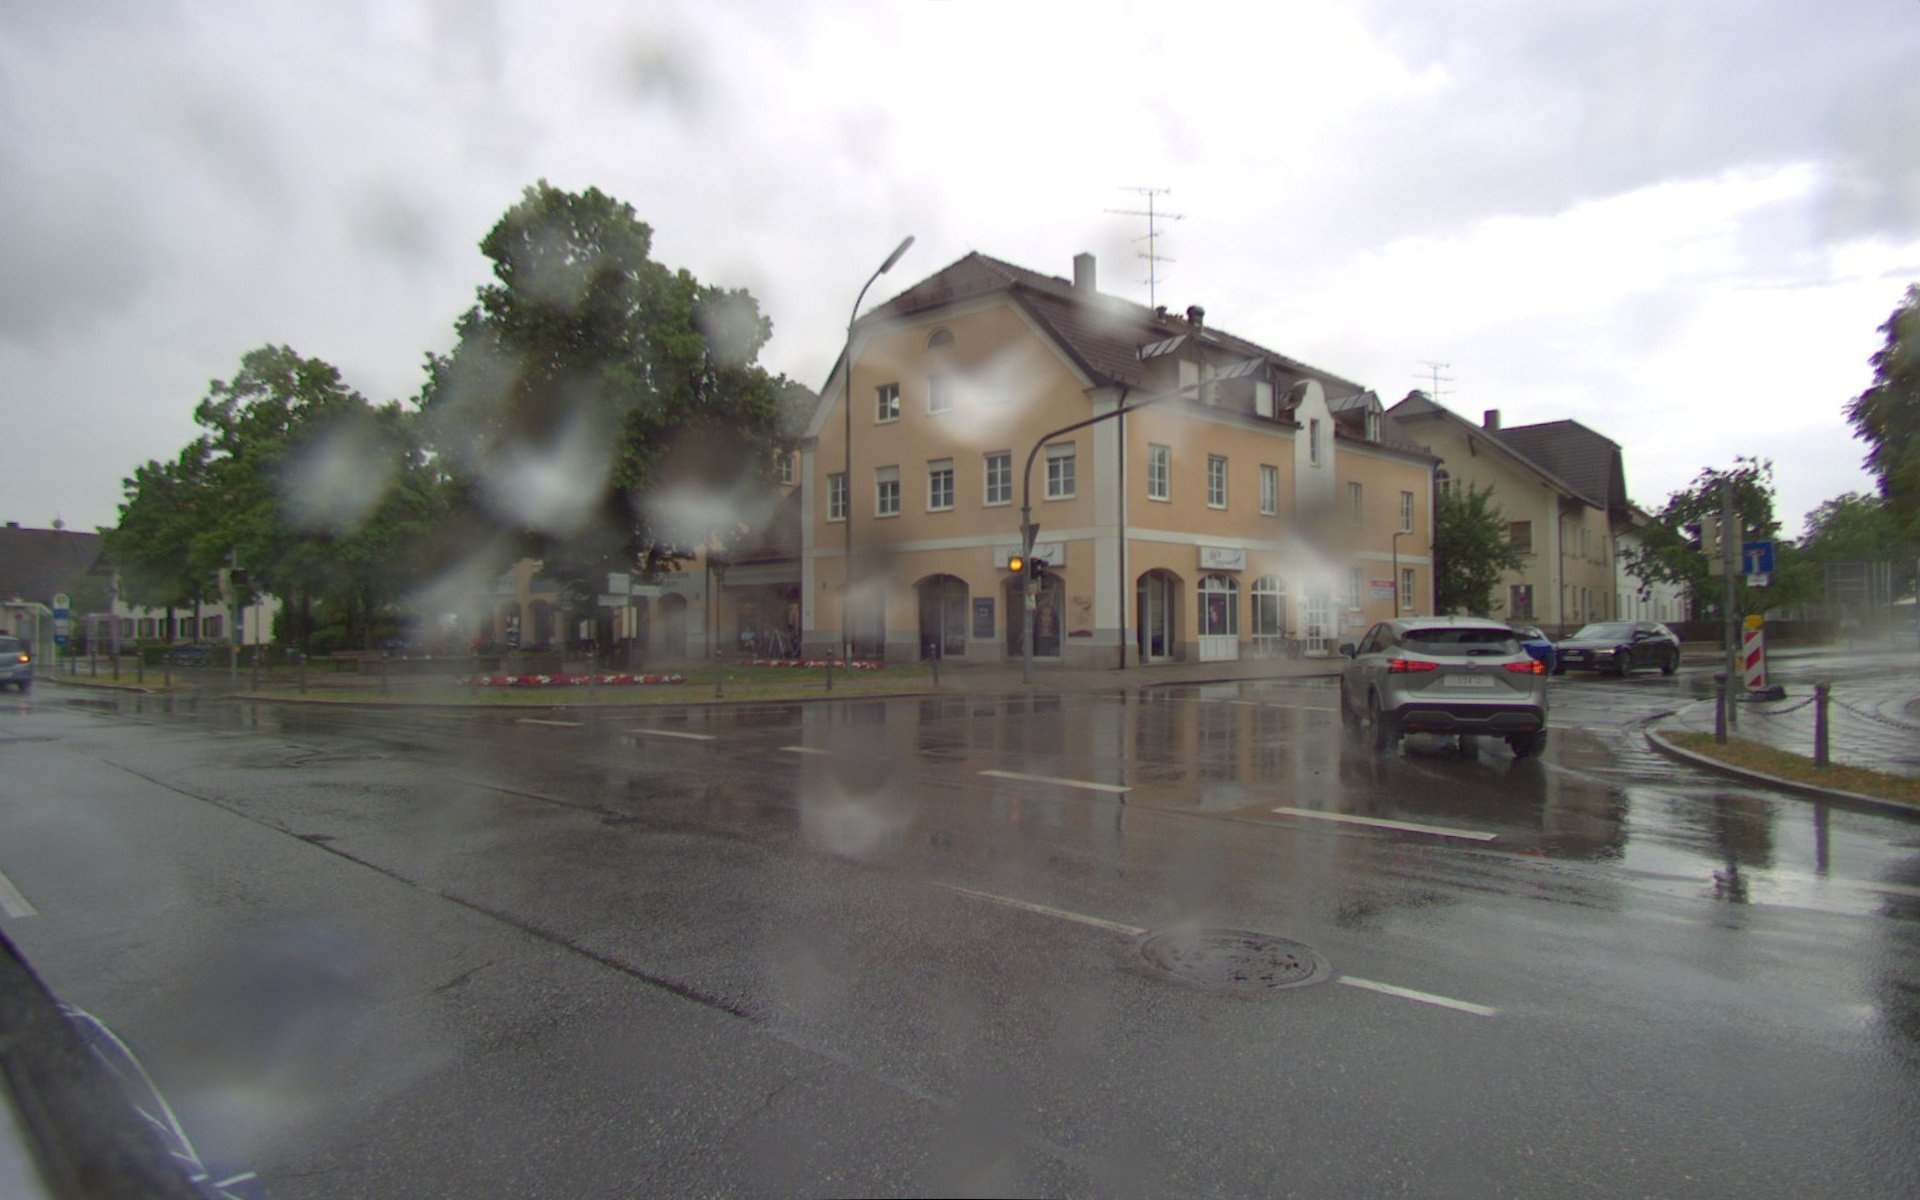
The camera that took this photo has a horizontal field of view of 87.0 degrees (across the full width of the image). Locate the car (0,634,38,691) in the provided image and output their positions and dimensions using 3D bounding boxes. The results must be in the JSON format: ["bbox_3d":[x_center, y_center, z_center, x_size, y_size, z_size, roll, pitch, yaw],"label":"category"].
[{"bbox_3d":[-26.656,1.672,27.410,4.099,1.466,1.850,-1,-2,38],"label":"car"}]

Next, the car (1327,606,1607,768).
[{"bbox_3d":[6.213,0.997,13.058,2.066,1.686,4.371,1,-2,11],"label":"car"}]

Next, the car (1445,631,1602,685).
[{"bbox_3d":[13.957,1.386,24.998,4.288,1.194,1.693,1,-2,-35],"label":"car"}]

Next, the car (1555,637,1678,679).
[{"bbox_3d":[17.939,1.543,27.592,4.006,1.025,1.427,1,-2,-35],"label":"car"}]
